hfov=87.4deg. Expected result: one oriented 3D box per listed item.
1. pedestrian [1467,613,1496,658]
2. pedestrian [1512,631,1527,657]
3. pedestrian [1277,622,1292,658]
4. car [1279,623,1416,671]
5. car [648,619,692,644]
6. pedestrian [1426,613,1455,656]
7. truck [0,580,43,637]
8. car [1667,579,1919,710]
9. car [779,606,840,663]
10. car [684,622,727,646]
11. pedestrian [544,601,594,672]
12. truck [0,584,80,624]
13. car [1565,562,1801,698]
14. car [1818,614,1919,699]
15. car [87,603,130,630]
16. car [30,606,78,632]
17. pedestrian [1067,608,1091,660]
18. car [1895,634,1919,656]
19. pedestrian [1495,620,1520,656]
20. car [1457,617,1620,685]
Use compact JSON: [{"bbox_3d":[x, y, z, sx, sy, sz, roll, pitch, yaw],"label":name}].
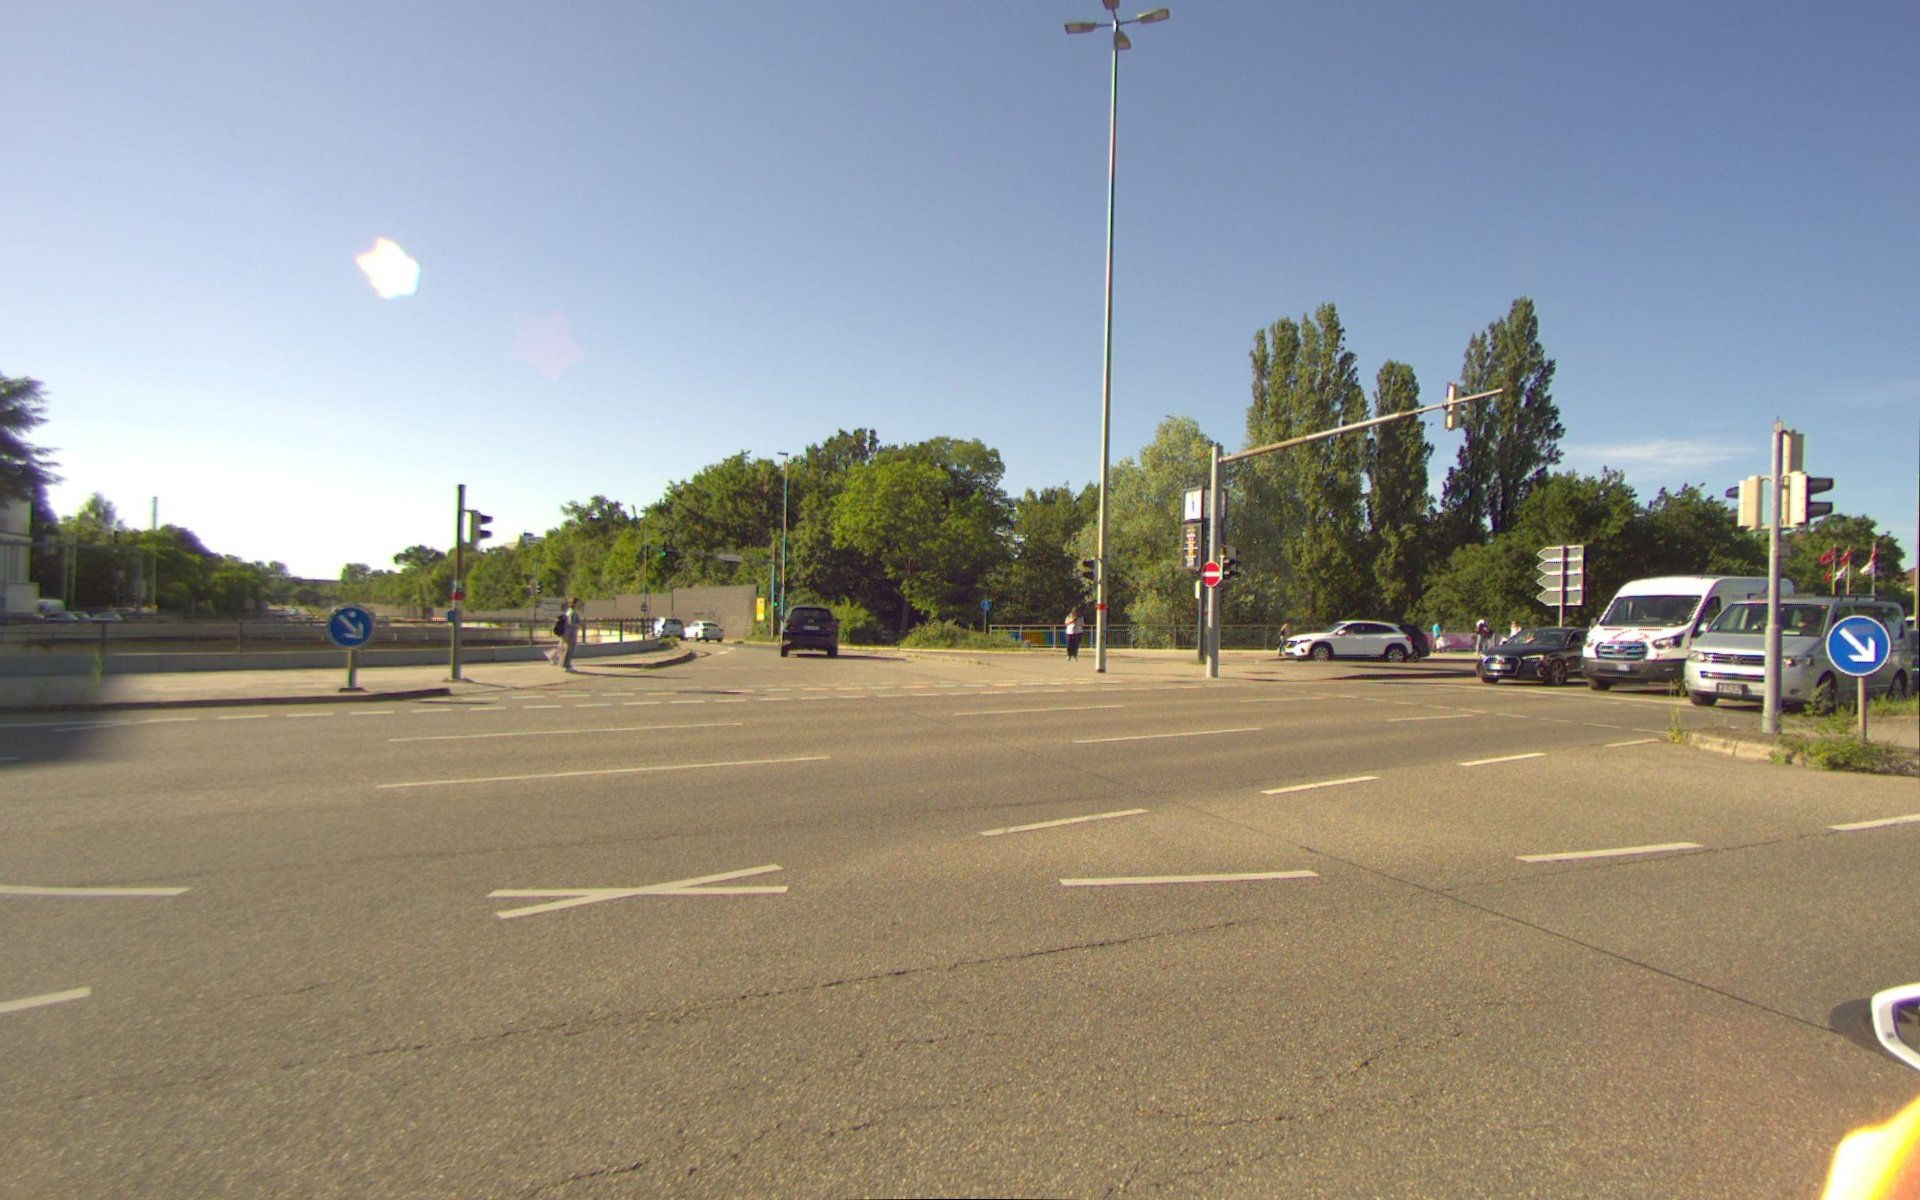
[{"bbox_3d":[24.368,1.652,46.900,0.777,2.023,0.803,4,0,-26],"label":"pedestrian"},{"bbox_3d":[26.630,2.092,47.795,0.392,1.151,0.422,4,0,-26],"label":"pedestrian"},{"bbox_3d":[14.187,1.744,43.927,0.547,1.568,0.576,1,-2,23],"label":"pedestrian"},{"bbox_3d":[13.980,1.690,36.388,4.244,1.556,1.784,1,1,-2],"label":"car"},{"bbox_3d":[-19.255,2.052,66.689,1.976,1.528,3.970,1,-1,-29],"label":"car"},{"bbox_3d":[22.730,1.614,47.534,0.777,1.942,0.833,4,0,-26],"label":"pedestrian"},{"bbox_3d":[-70.814,0.535,73.470,3.811,3.847,9.261,1,1,-32],"label":"truck"},{"bbox_3d":[14.771,0.755,17.739,4.875,2.035,1.927,2,-1,-31],"label":"car"},{"bbox_3d":[-5.001,1.092,33.221,1.846,1.731,4.190,2,-1,-9],"label":"car"},{"bbox_3d":[-17.794,2.353,70.062,1.765,1.434,4.283,1,0,-30],"label":"car"},{"bbox_3d":[-8.347,0.773,21.440,0.669,1.482,0.701,1,-1,33],"label":"pedestrian"},{"bbox_3d":[-76.591,0.267,83.602,3.811,3.057,7.681,1,1,-32],"label":"truck"},{"bbox_3d":[15.687,0.639,21.669,6.019,2.610,1.927,2,0,-31],"label":"car"},{"bbox_3d":[20.323,1.166,21.319,4.454,1.644,1.927,2,-1,-31],"label":"car"},{"bbox_3d":[-72.579,1.384,85.659,1.977,2.040,3.967,4,-1,-30],"label":"car"},{"bbox_3d":[-66.734,1.367,74.062,1.720,1.706,4.019,4,-1,-30],"label":"car"},{"bbox_3d":[3.669,1.040,30.976,0.697,1.568,0.729,1,0,7],"label":"pedestrian"},{"bbox_3d":[92.535,4.347,96.255,4.186,2.040,1.991,0,-2,40],"label":"car"},{"bbox_3d":[26.303,1.805,48.277,0.664,1.663,0.718,4,0,-26],"label":"pedestrian"},{"bbox_3d":[14.137,1.211,24.502,3.958,1.527,1.925,1,-2,-34],"label":"car"}]
